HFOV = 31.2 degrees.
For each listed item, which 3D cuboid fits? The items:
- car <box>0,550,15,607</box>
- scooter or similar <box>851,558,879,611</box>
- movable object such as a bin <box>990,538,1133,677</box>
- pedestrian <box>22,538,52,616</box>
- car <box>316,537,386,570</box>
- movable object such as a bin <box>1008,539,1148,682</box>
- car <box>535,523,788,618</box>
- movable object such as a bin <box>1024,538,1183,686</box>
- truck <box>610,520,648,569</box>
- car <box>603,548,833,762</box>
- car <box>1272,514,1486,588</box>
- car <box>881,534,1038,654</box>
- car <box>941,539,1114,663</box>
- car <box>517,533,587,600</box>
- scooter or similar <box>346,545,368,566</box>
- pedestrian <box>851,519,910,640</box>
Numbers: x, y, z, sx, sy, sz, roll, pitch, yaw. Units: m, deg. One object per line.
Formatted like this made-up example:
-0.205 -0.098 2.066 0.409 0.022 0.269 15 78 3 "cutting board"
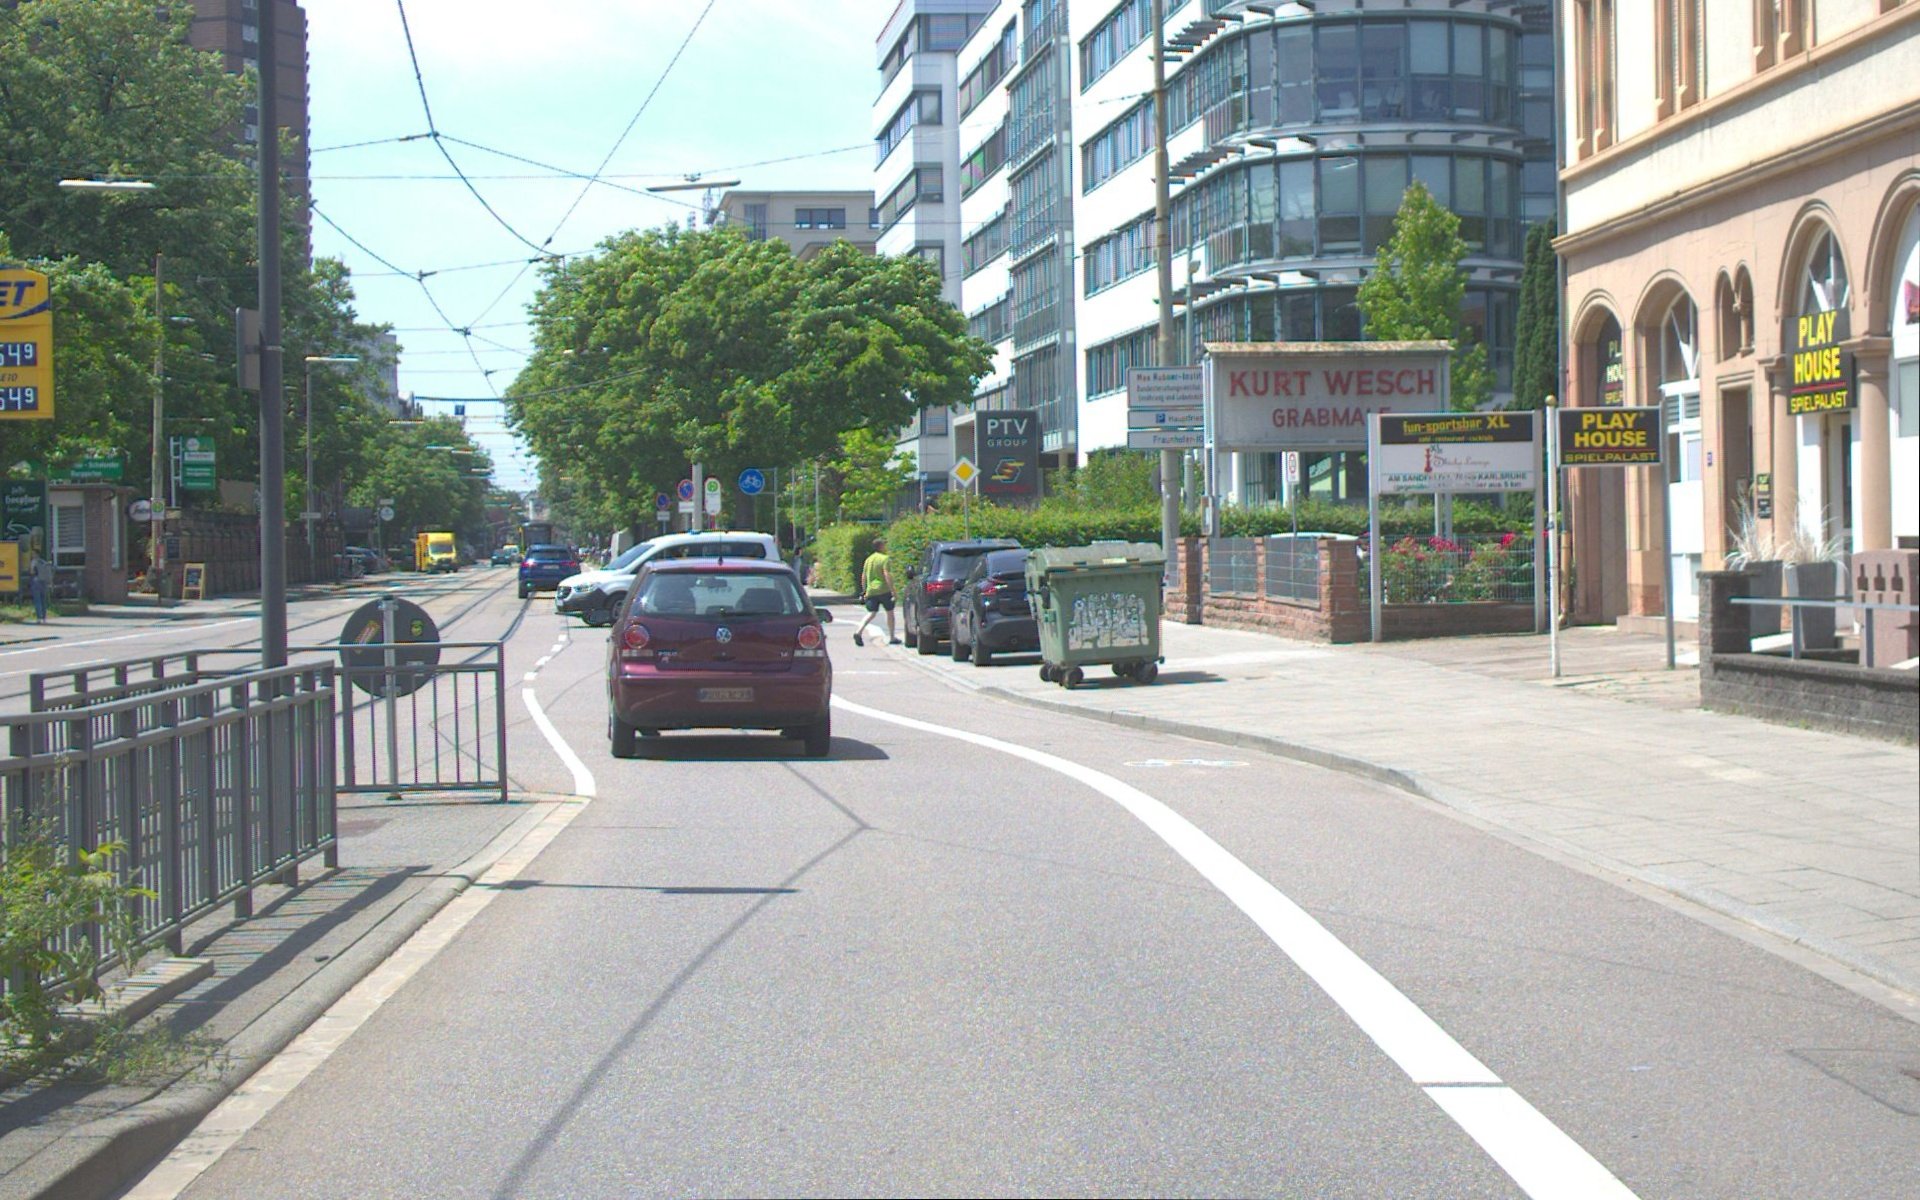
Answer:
-26.790 -0.557 88.732 1.933 1.483 4.443 1 1 33 "car"
-2.215 -0.369 80.023 0.326 1.218 1.151 1 1 15 "scooter or similar"
1.115 0.075 38.089 1.323 1.450 1.058 -3 1 -9 "movable object such as a bin"
-21.067 -0.533 78.453 0.580 1.769 0.700 0 1 -10 "pedestrian"
-37.906 -2.909 214.031 3.986 2.007 2.000 -1 1 -2 "car"
1.264 0.099 37.026 1.247 1.450 1.058 -3 1 -9 "movable object such as a bin"
-5.878 -0.598 67.668 4.537 1.793 2.001 -1 1 -23 "car"
1.491 0.113 35.943 1.391 1.450 1.139 -3 1 -9 "movable object such as a bin"
-18.514 -3.121 192.233 1.993 2.652 4.876 0 1 -7 "truck"
-1.840 0.358 26.344 1.619 1.481 4.001 1 1 -4 "car"
8.713 -1.024 71.695 4.148 1.454 1.818 -1 1 -3 "car"
-0.059 -0.141 53.484 1.924 1.687 5.083 -3 1 -5 "car"
0.874 -0.014 47.240 1.772 1.543 4.468 -3 1 -6 "car"
-12.591 -1.052 105.893 1.993 2.007 4.001 0 1 -9 "car"
-32.899 -2.438 187.543 1.088 1.151 0.527 0 1 -27 "scooter or similar"
-1.310 -0.343 56.459 0.780 1.953 0.590 -1 1 -21 "pedestrian"
